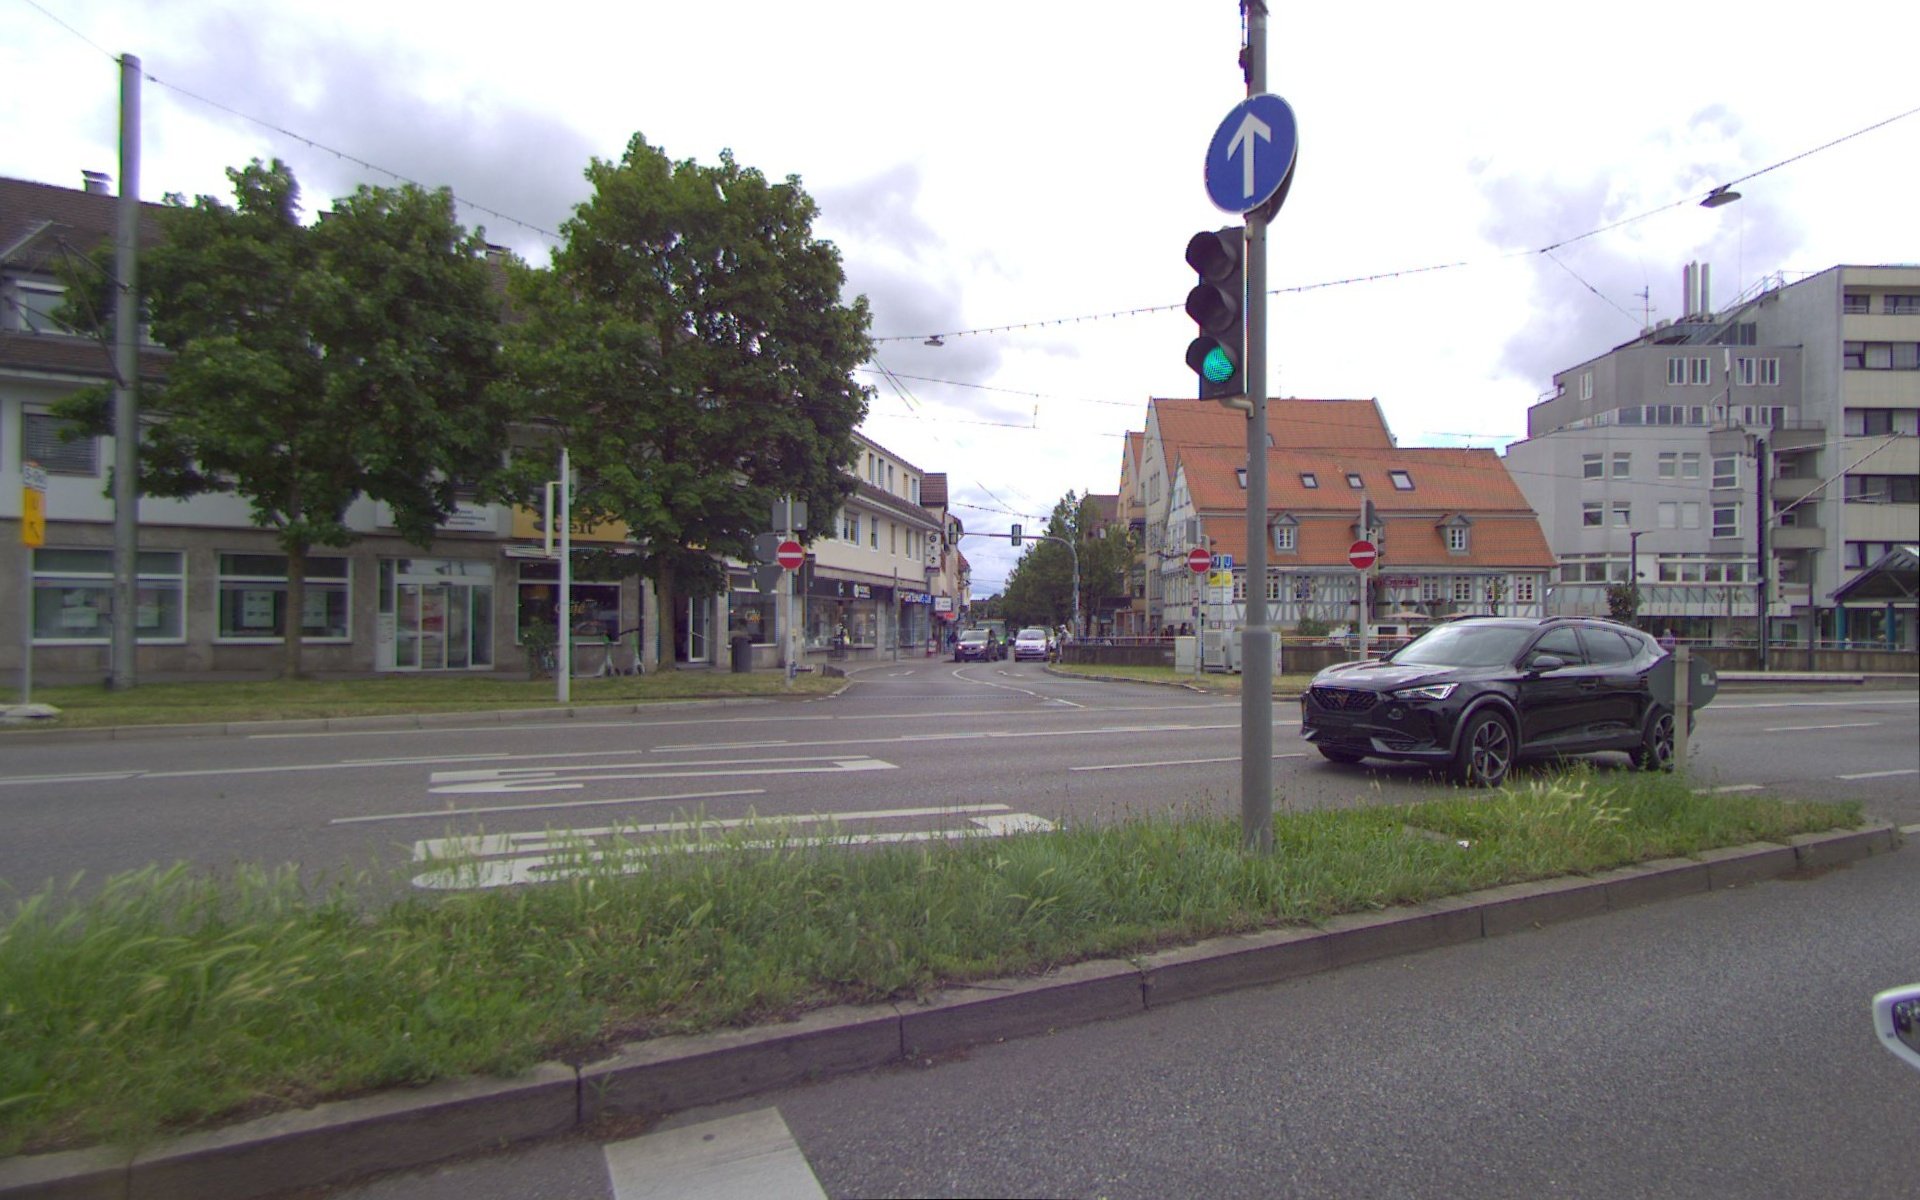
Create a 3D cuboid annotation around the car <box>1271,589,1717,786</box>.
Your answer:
[{"bbox_3d":[5.435,0.809,10.185,4.219,1.639,1.892,2,-1,-26],"label":"car"}]

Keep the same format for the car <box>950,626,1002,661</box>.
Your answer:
[{"bbox_3d":[0.863,2.187,51.438,1.815,1.606,3.608,-1,0,15],"label":"car"}]

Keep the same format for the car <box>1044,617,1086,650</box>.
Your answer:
[{"bbox_3d":[6.004,1.890,57.031,1.815,1.606,3.607,-1,2,15],"label":"car"}]

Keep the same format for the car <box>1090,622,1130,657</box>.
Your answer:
[{"bbox_3d":[7.771,2.042,52.329,1.959,1.706,4.003,1,-1,8],"label":"car"}]

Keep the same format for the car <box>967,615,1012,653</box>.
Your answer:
[{"bbox_3d":[1.825,2.017,60.316,2.200,2.090,4.409,-1,0,8],"label":"car"}]

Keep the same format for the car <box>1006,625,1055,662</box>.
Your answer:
[{"bbox_3d":[3.590,2.161,50.619,1.815,1.606,3.607,-1,2,15],"label":"car"}]
